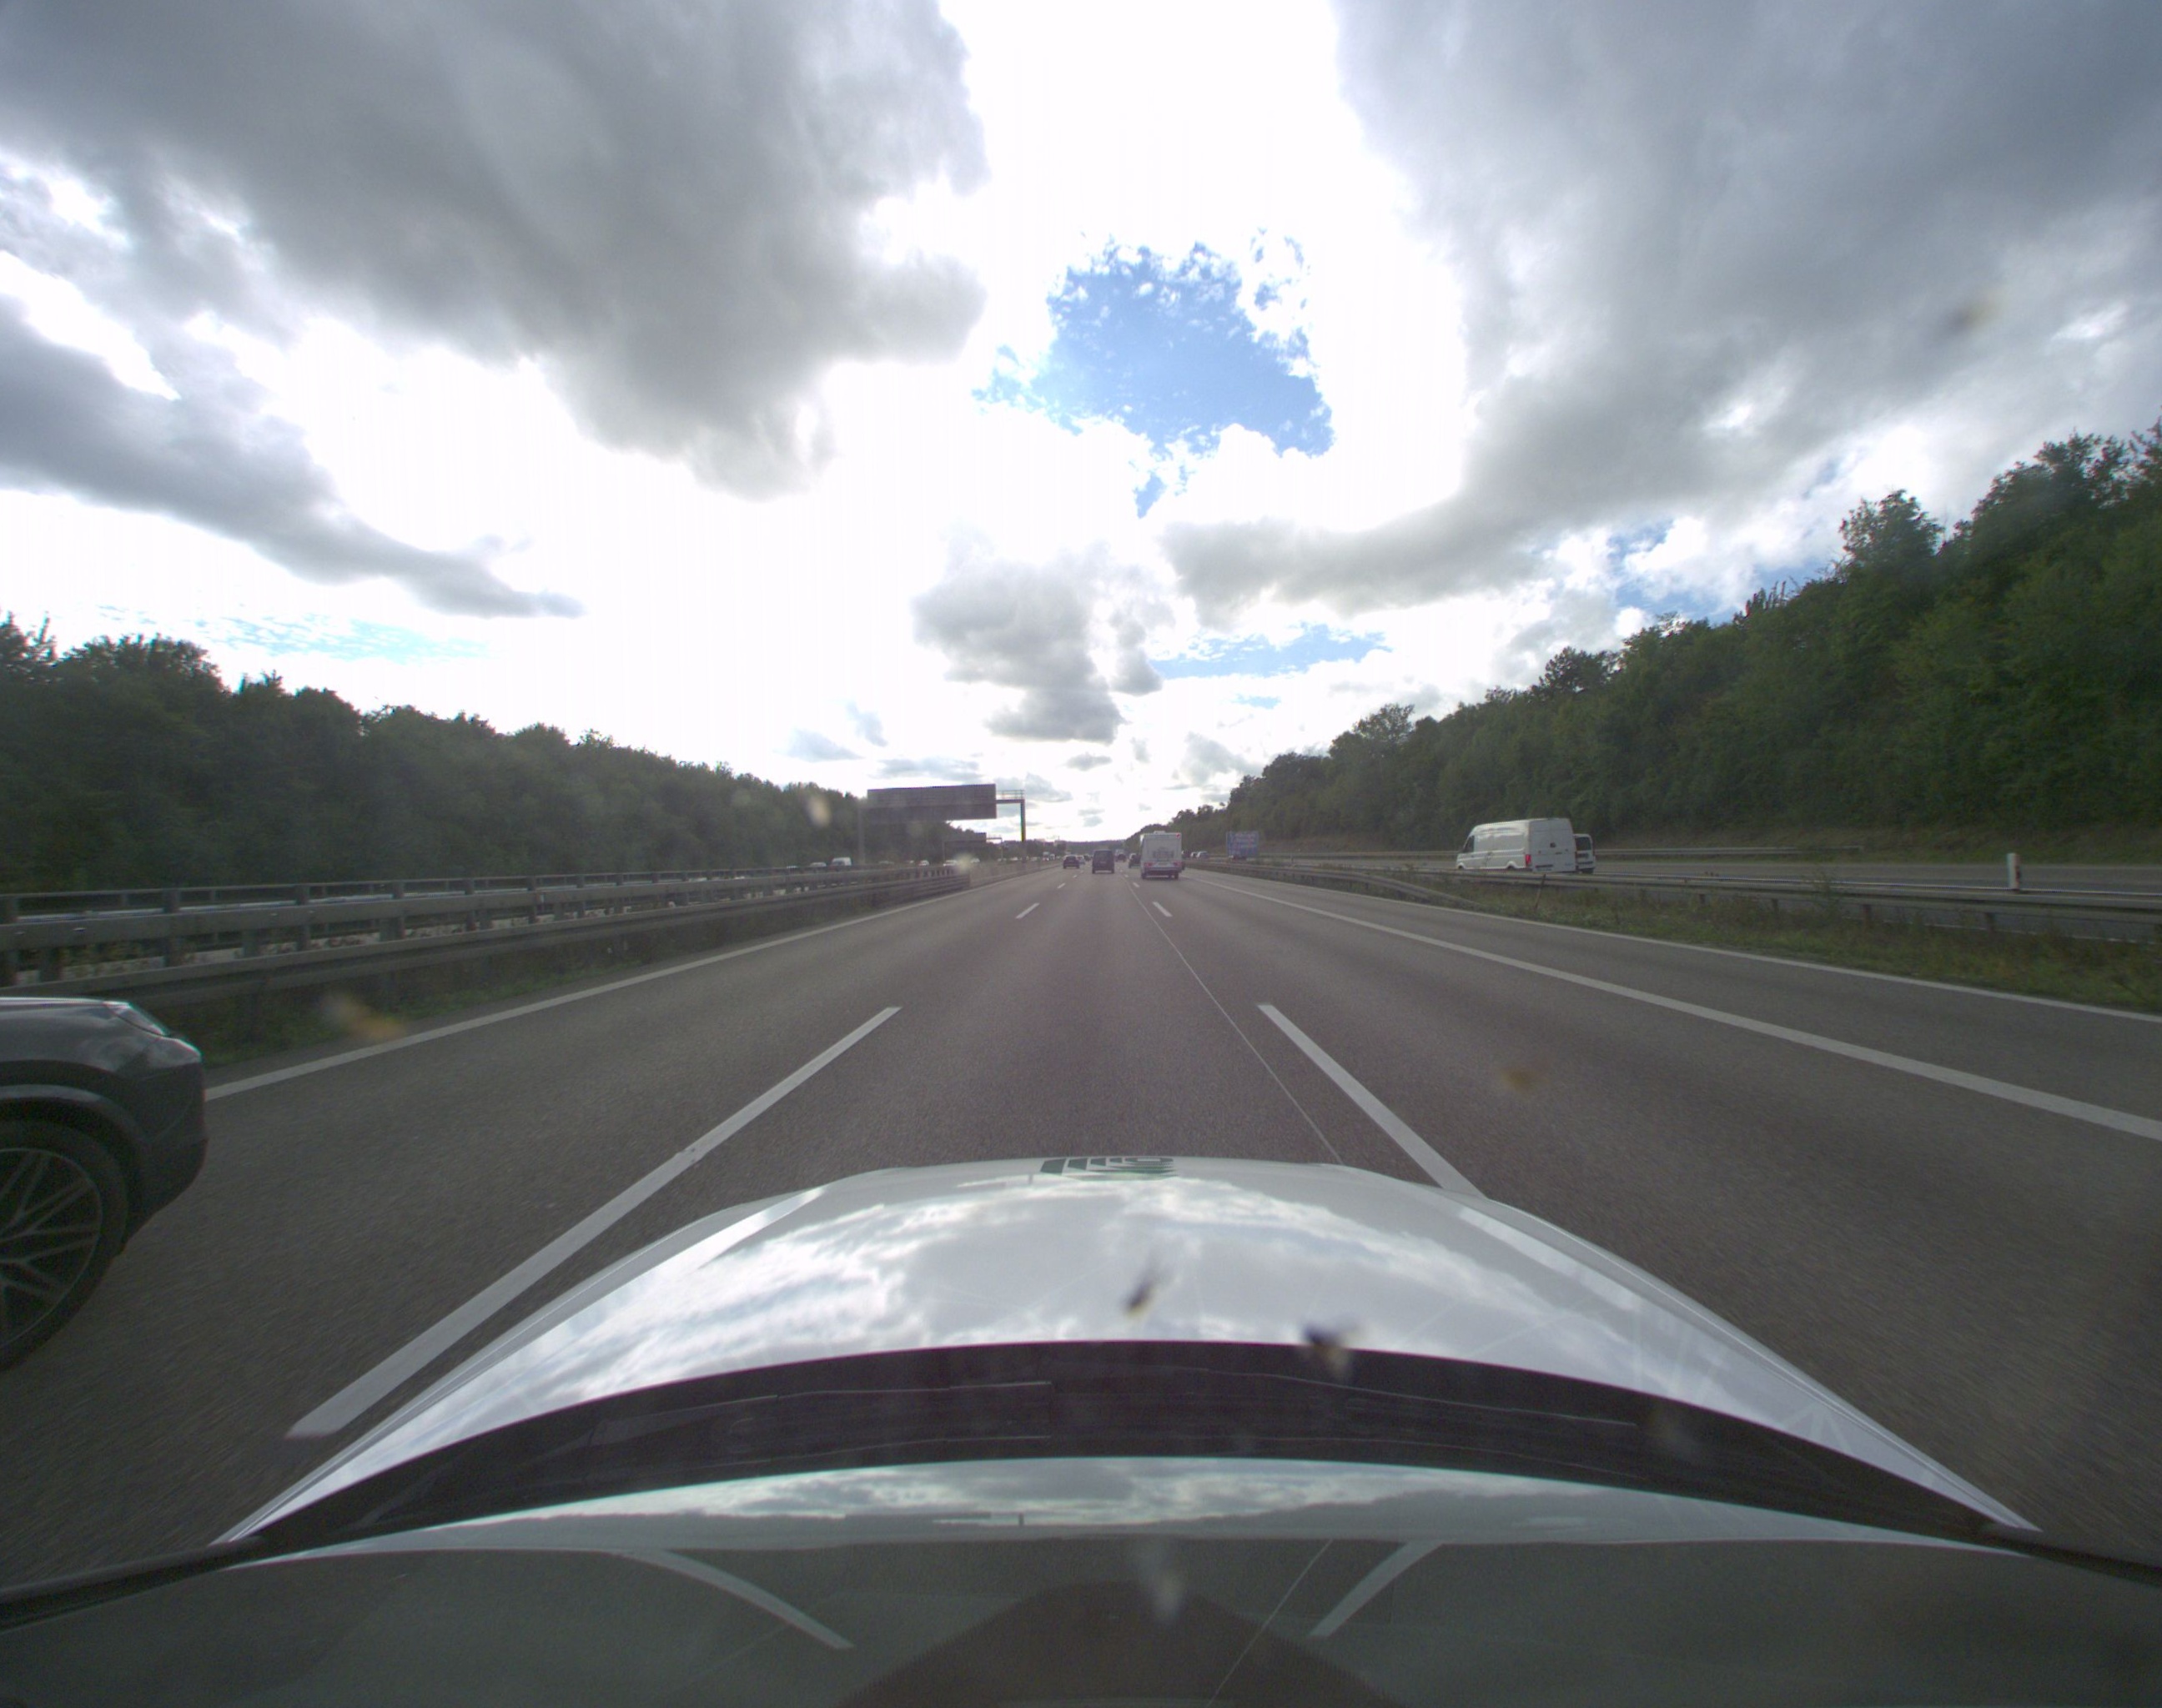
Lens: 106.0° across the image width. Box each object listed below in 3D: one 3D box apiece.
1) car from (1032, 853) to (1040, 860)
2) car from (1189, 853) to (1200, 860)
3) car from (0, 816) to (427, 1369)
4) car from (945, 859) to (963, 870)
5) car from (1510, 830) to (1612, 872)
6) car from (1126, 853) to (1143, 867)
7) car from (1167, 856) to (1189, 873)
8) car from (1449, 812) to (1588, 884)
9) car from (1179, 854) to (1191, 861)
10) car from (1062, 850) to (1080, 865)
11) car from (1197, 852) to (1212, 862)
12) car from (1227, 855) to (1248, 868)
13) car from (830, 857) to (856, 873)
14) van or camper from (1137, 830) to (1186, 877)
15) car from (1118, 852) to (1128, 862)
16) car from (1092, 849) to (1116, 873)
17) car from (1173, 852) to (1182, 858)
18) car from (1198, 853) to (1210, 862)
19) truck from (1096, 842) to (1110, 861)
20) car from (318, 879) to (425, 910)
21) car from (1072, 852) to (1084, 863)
[{"bbox_3d":[-13.399,0.732,242.362,1.828,1.786,5.504,-2,0,1],"label":"car"},{"bbox_3d":[25.353,0.610,182.321,1.837,1.484,4.525,-3,0,0],"label":"car"},{"bbox_3d":[-4.189,0.725,1.195,1.905,1.636,5.501,-1,0,1],"label":"car"},{"bbox_3d":[-16.744,1.420,107.779,1.637,1.315,4.248,-2,0,1],"label":"car"},{"bbox_3d":[21.333,-0.131,36.454,1.836,1.752,4.766,-1,0,2],"label":"car"},{"bbox_3d":[6.034,0.693,92.977,1.691,1.564,4.114,-1,0,1],"label":"car"},{"bbox_3d":[9.438,1.012,79.607,1.691,1.611,3.896,-1,0,1],"label":"car"},{"bbox_3d":[17.547,-0.243,33.184,2.062,2.554,6.744,-2,0,1],"label":"car"},{"bbox_3d":[22.177,0.754,173.514,1.837,1.484,4.525,-3,0,0],"label":"car"},{"bbox_3d":[-1.140,0.423,94.822,1.866,1.698,4.073,-1,0,1],"label":"car"},{"bbox_3d":[20.967,0.542,138.602,1.837,1.484,4.525,-3,0,0],"label":"car"},{"bbox_3d":[19.737,0.880,102.901,1.836,1.484,4.527,-3,0,1],"label":"car"},{"bbox_3d":[-37.170,1.756,127.442,1.985,2.315,5.689,-2,0,3],"label":"car"},{"bbox_3d":[4.965,-0.026,51.409,2.460,2.722,7.663,0,0,1],"label":"van or camper"},{"bbox_3d":[8.901,0.617,172.313,1.906,1.919,4.031,-1,0,1],"label":"car"},{"bbox_3d":[1.920,0.595,68.249,1.848,1.910,4.261,-1,0,1],"label":"car"},{"bbox_3d":[26.993,0.188,227.992,1.837,1.484,4.525,-3,0,0],"label":"car"},{"bbox_3d":[20.863,0.606,138.186,1.535,1.484,3.943,-3,0,1],"label":"car"},{"bbox_3d":[5.218,-0.499,192.359,3.251,4.375,11.029,0,0,1],"label":"truck"},{"bbox_3d":[-36.087,2.033,41.573,1.637,1.315,4.248,-2,0,1],"label":"car"},{"bbox_3d":[-0.444,0.557,129.156,1.691,1.611,4.114,-1,0,1],"label":"car"}]
